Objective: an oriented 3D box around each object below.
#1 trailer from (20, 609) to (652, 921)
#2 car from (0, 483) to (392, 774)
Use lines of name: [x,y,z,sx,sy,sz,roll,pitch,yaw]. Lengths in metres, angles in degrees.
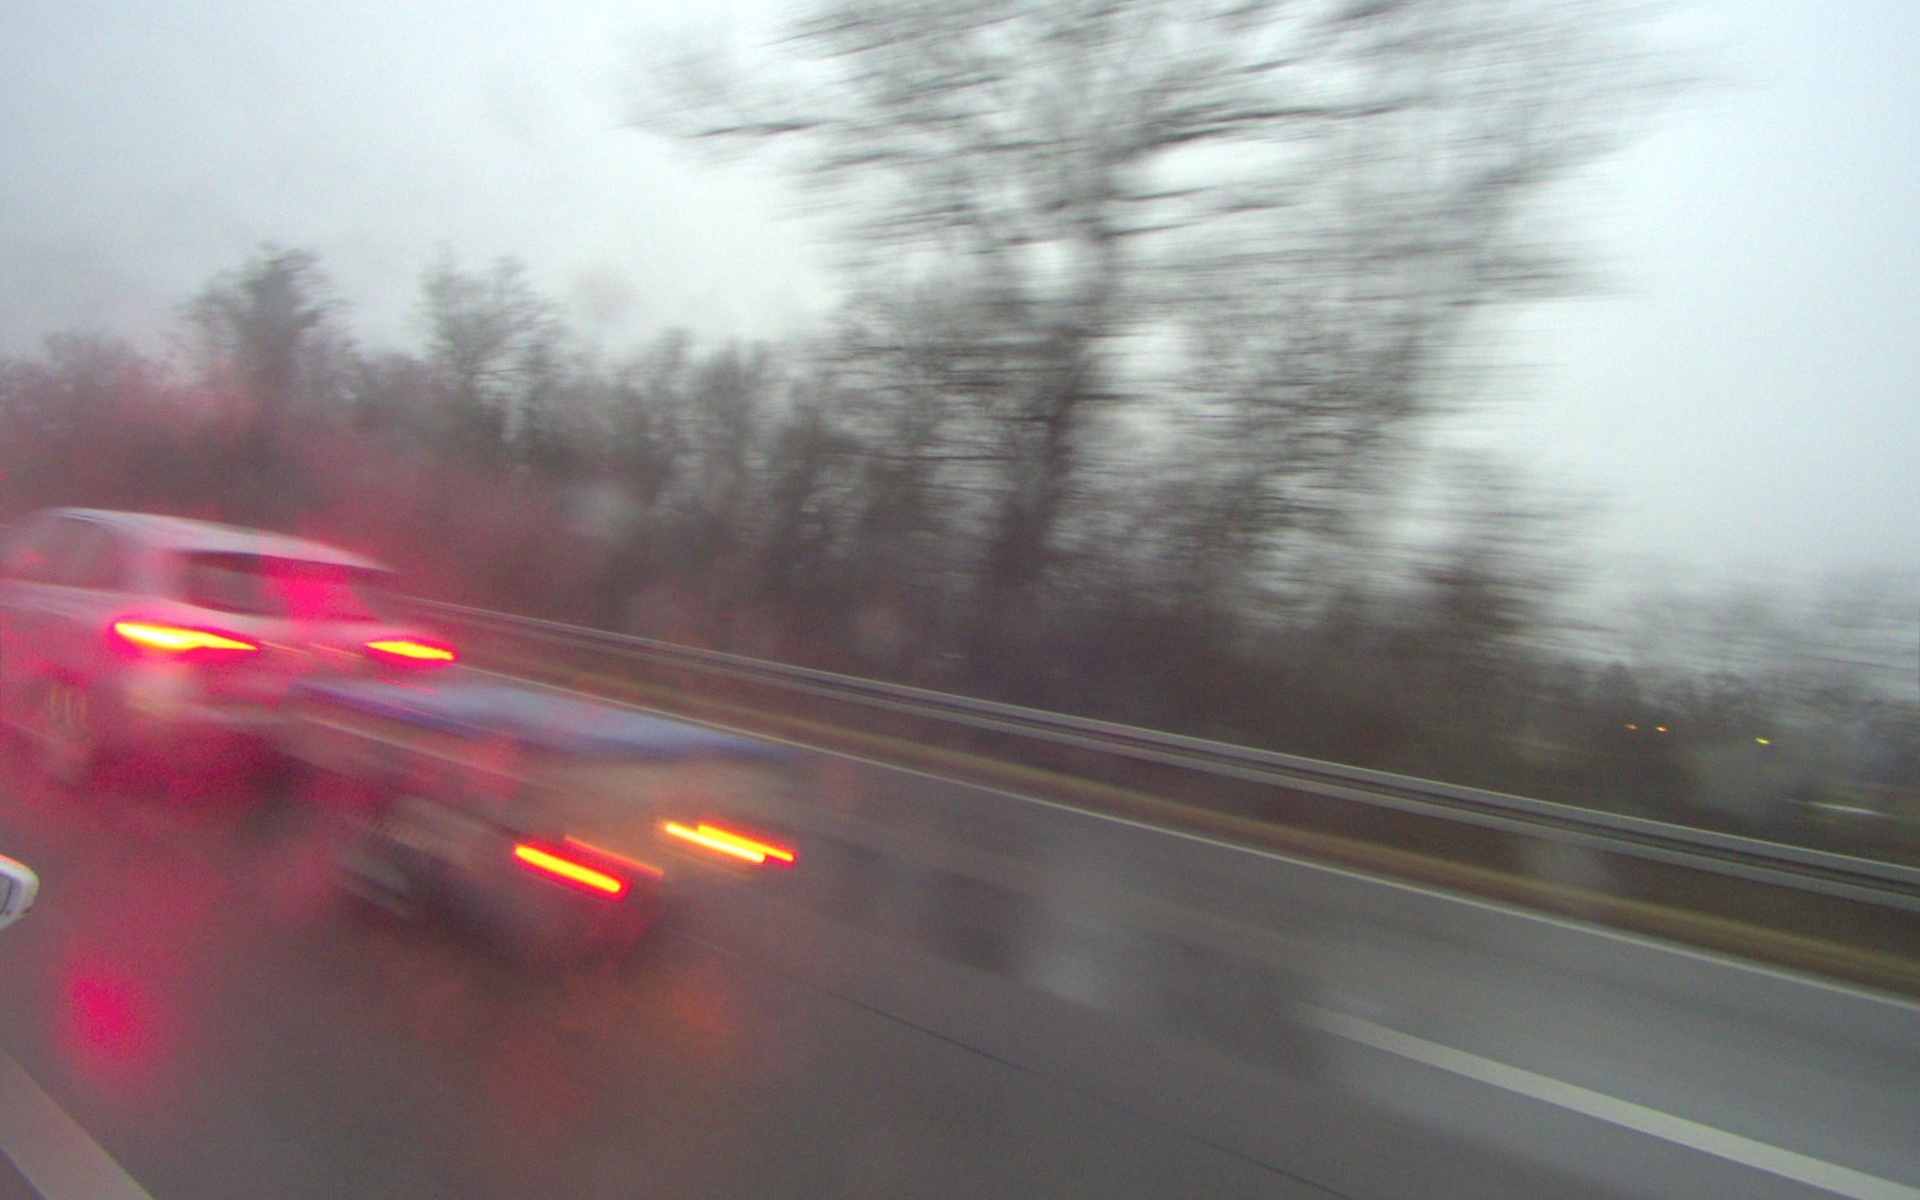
trailer: [-3.393,0.733,5.464,2.902,0.936,1.751,7,-1,32]
car: [-6.027,0.070,7.126,3.748,1.534,1.789,7,-1,32]
